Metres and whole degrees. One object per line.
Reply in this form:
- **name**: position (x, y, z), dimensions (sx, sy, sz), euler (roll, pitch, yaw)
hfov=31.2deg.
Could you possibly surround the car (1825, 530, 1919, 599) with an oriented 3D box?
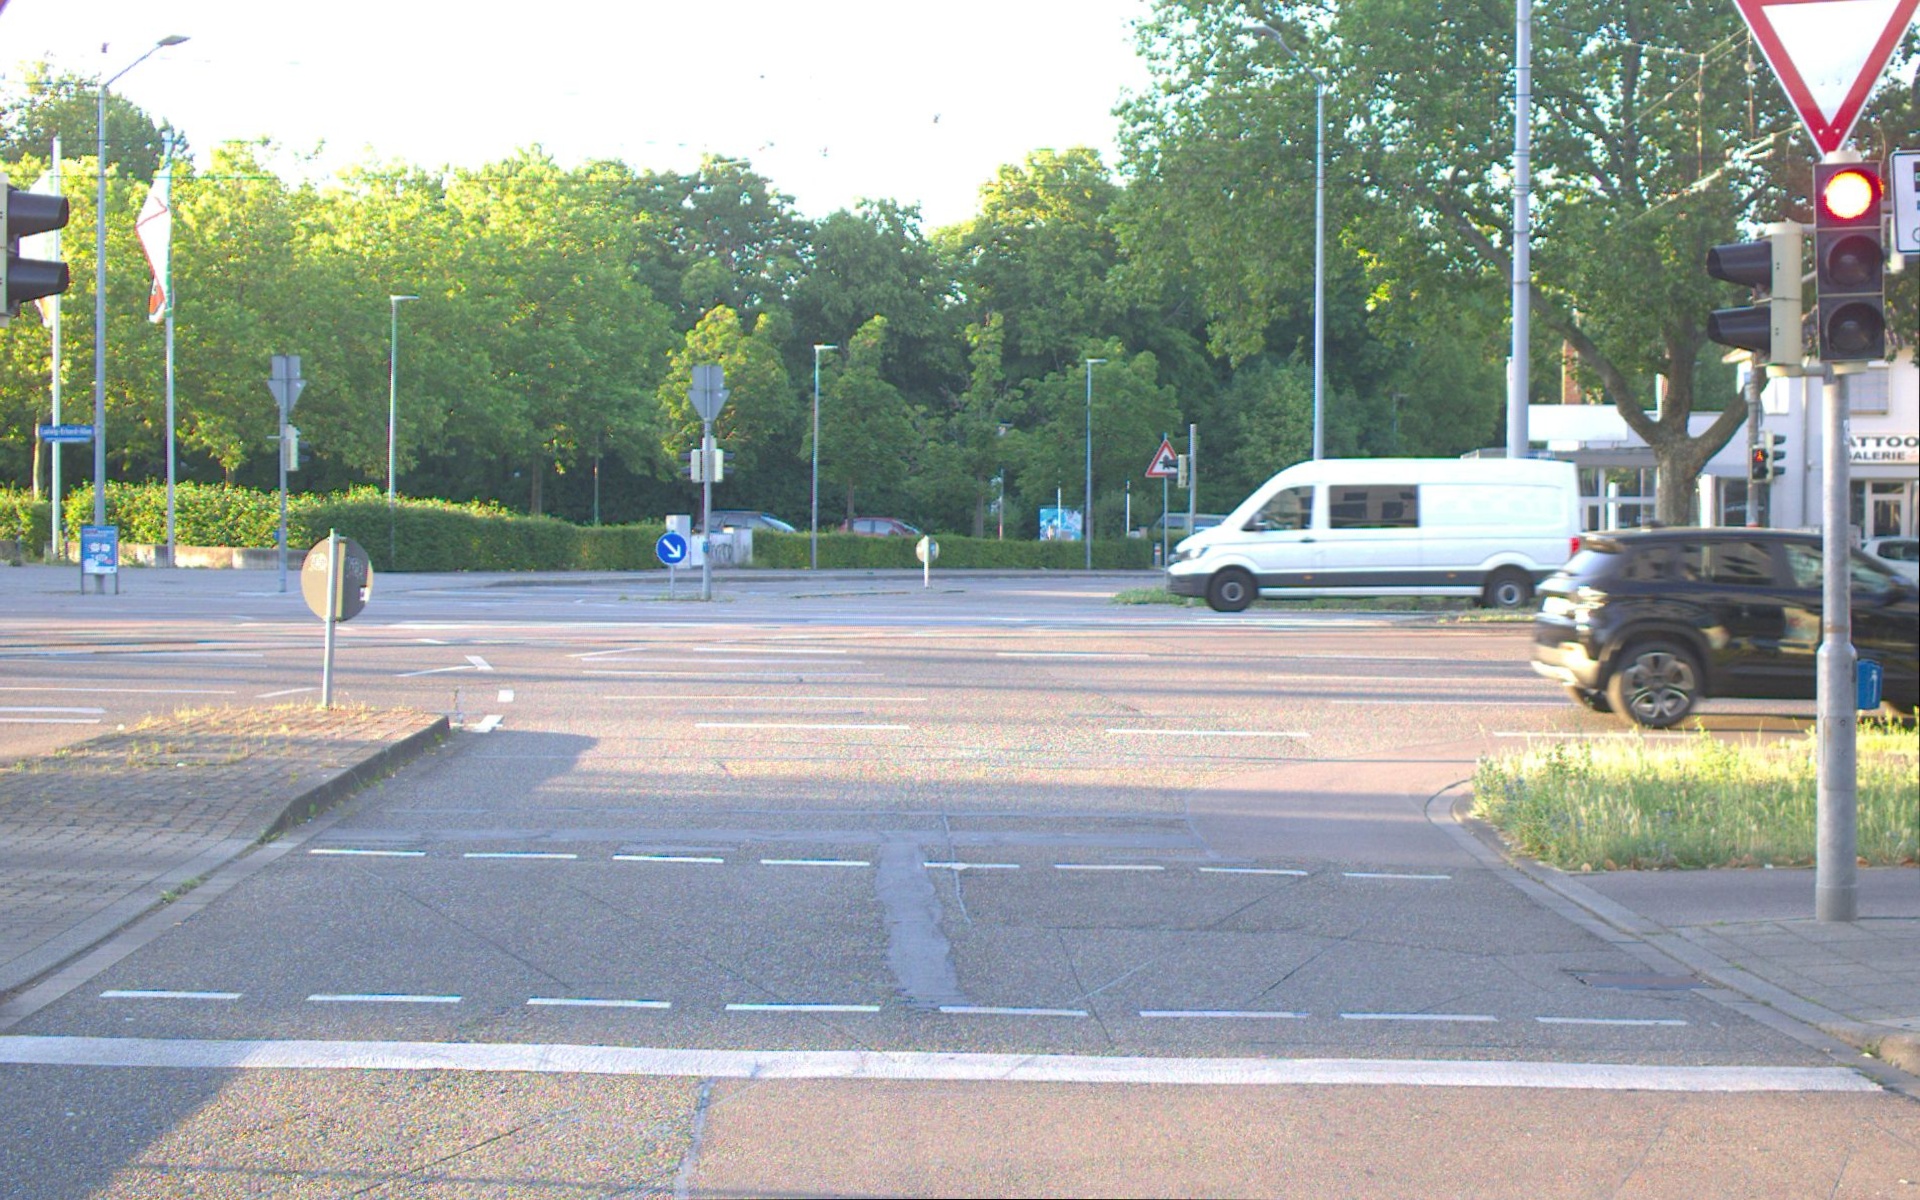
- **car**: position (20.192, -0.741, 72.313), dimensions (3.741, 1.435, 1.663), euler (1, 0, 9)

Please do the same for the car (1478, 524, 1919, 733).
- **car**: position (6.505, 0.204, 27.218), dimensions (4.433, 1.568, 2.000), euler (1, 1, -2)

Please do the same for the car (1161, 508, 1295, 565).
- **car**: position (9.786, -2.319, 125.872), dimensions (4.774, 1.999, 2.000), euler (0, 0, 2)

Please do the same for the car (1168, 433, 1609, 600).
- **car**: position (6.995, -1.352, 56.850), dimensions (6.918, 2.627, 2.811), euler (0, 0, 0)
